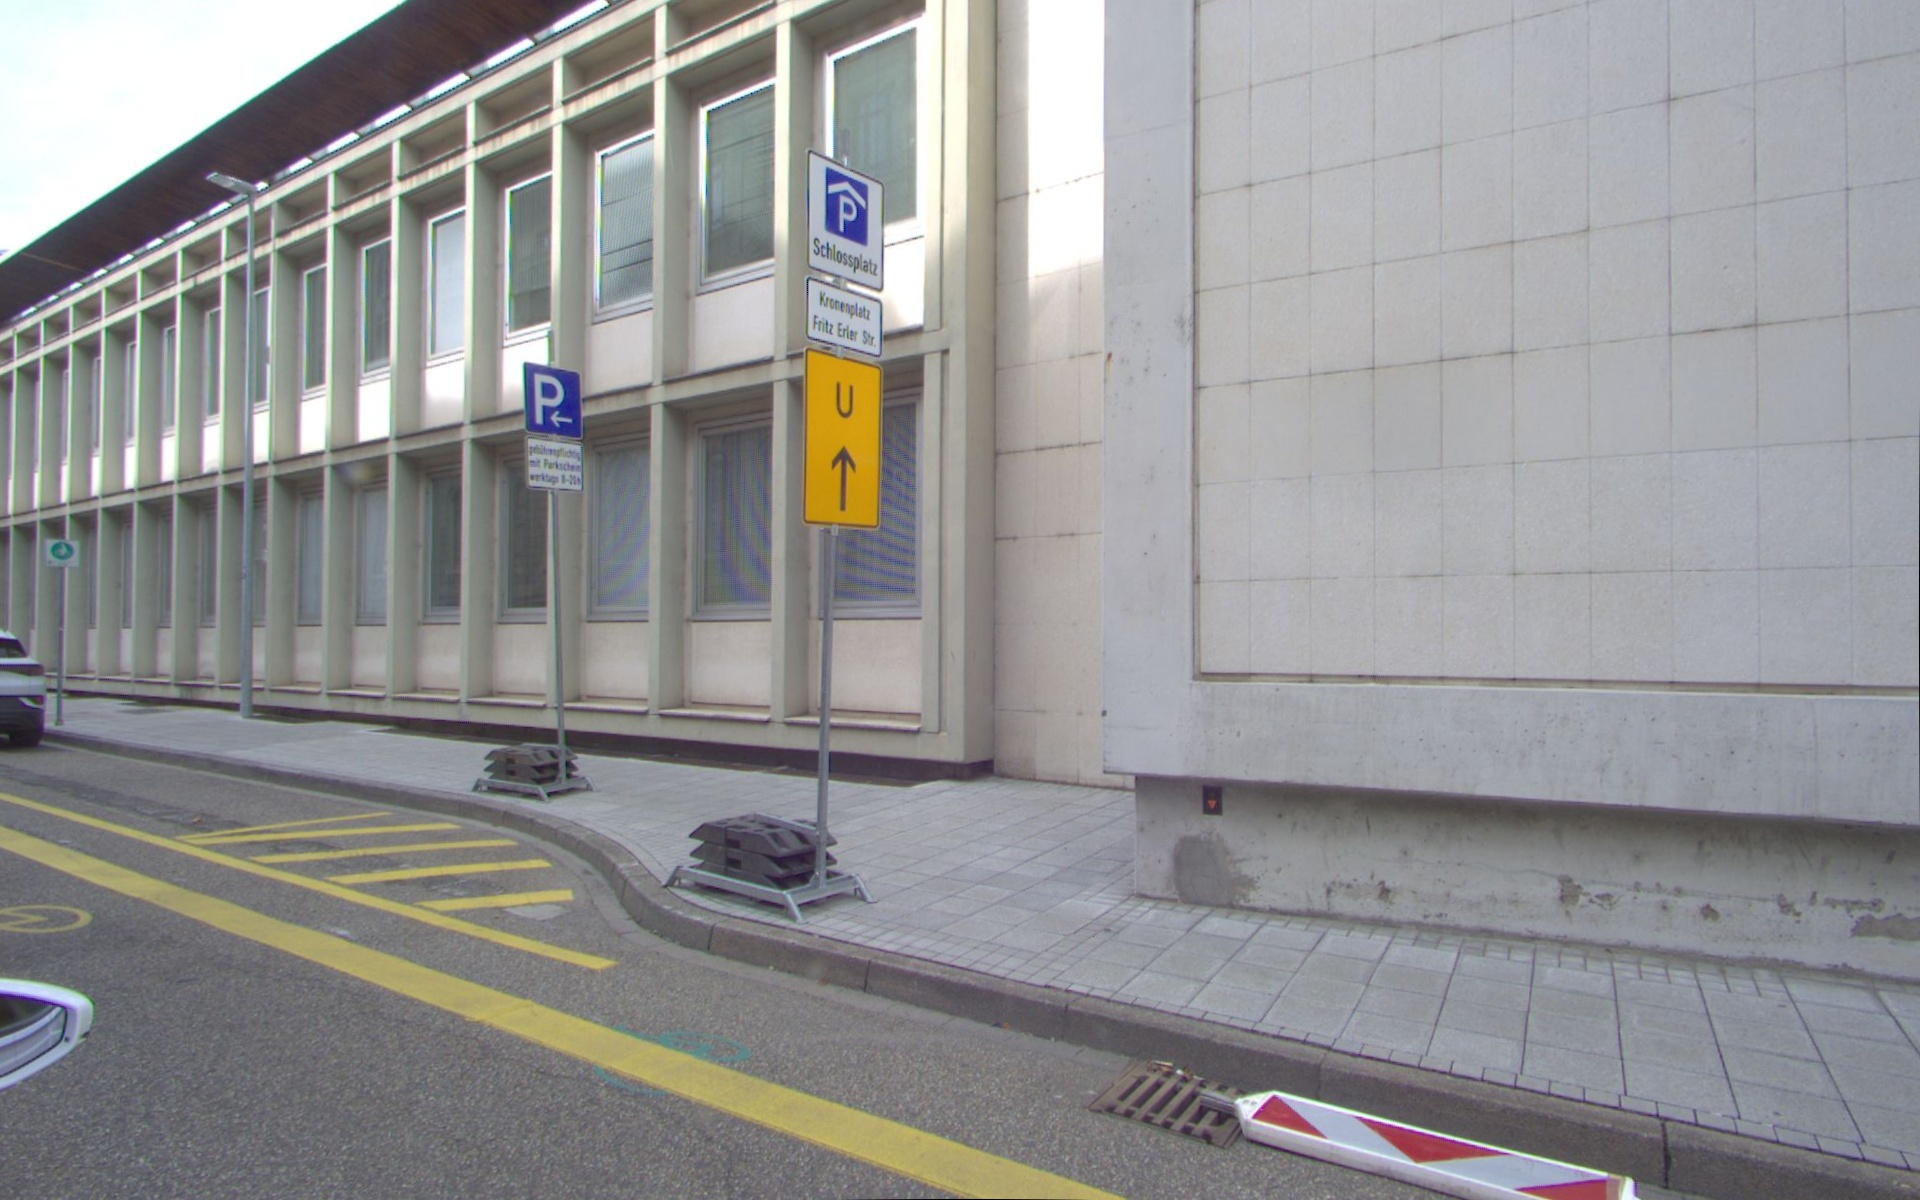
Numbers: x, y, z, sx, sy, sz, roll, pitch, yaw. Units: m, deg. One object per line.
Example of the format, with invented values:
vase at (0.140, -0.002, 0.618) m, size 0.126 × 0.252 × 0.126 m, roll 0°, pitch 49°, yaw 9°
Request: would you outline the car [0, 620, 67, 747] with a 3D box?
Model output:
car at (-14.373, 1.099, 13.955) m, size 4.452 × 1.624 × 1.857 m, roll -1°, pitch -5°, yaw 35°
